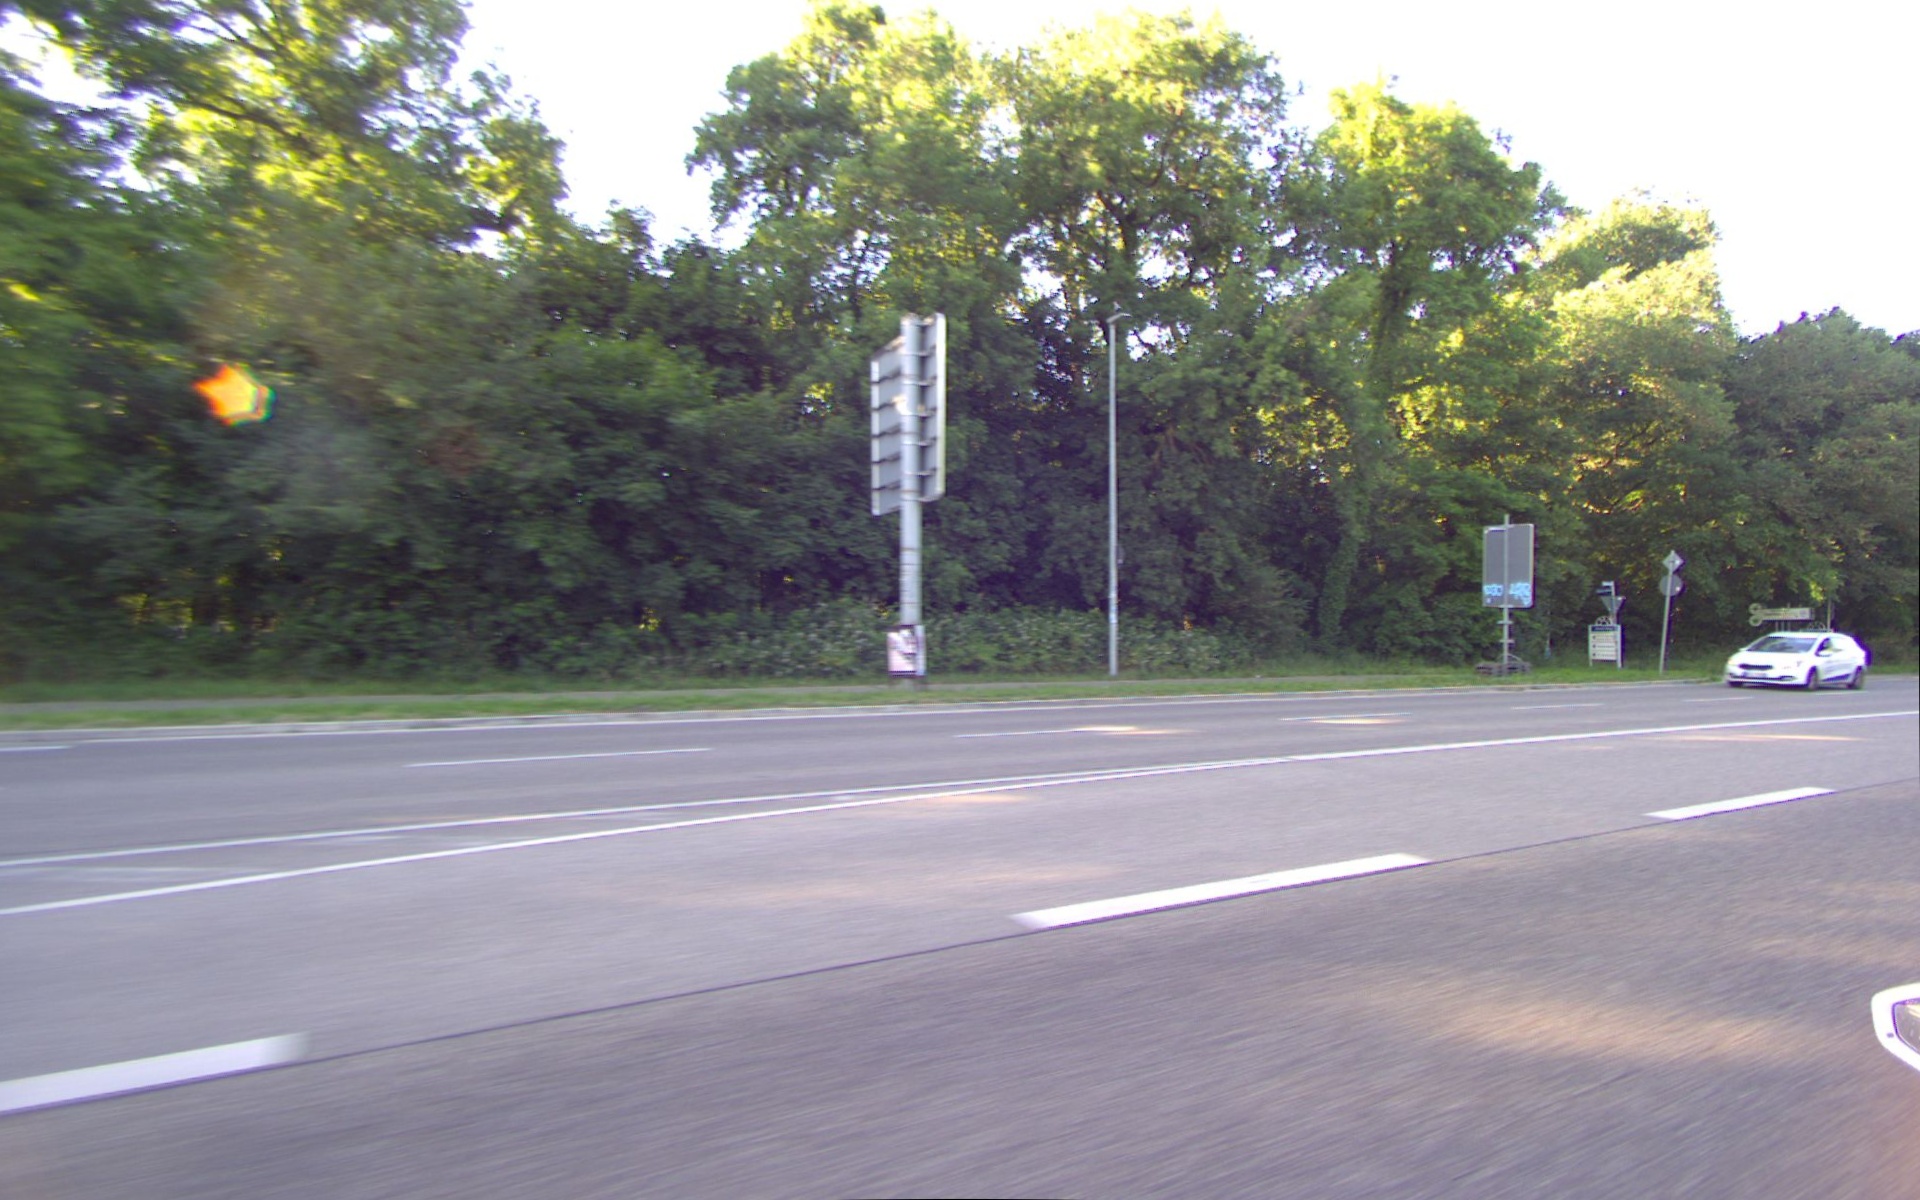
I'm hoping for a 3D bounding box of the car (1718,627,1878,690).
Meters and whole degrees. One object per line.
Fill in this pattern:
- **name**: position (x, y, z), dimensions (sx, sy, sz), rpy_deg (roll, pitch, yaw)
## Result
- **car**: position (22.083, 1.501, 26.448), dimensions (4.253, 1.524, 1.817), rpy_deg (1, -1, -29)
